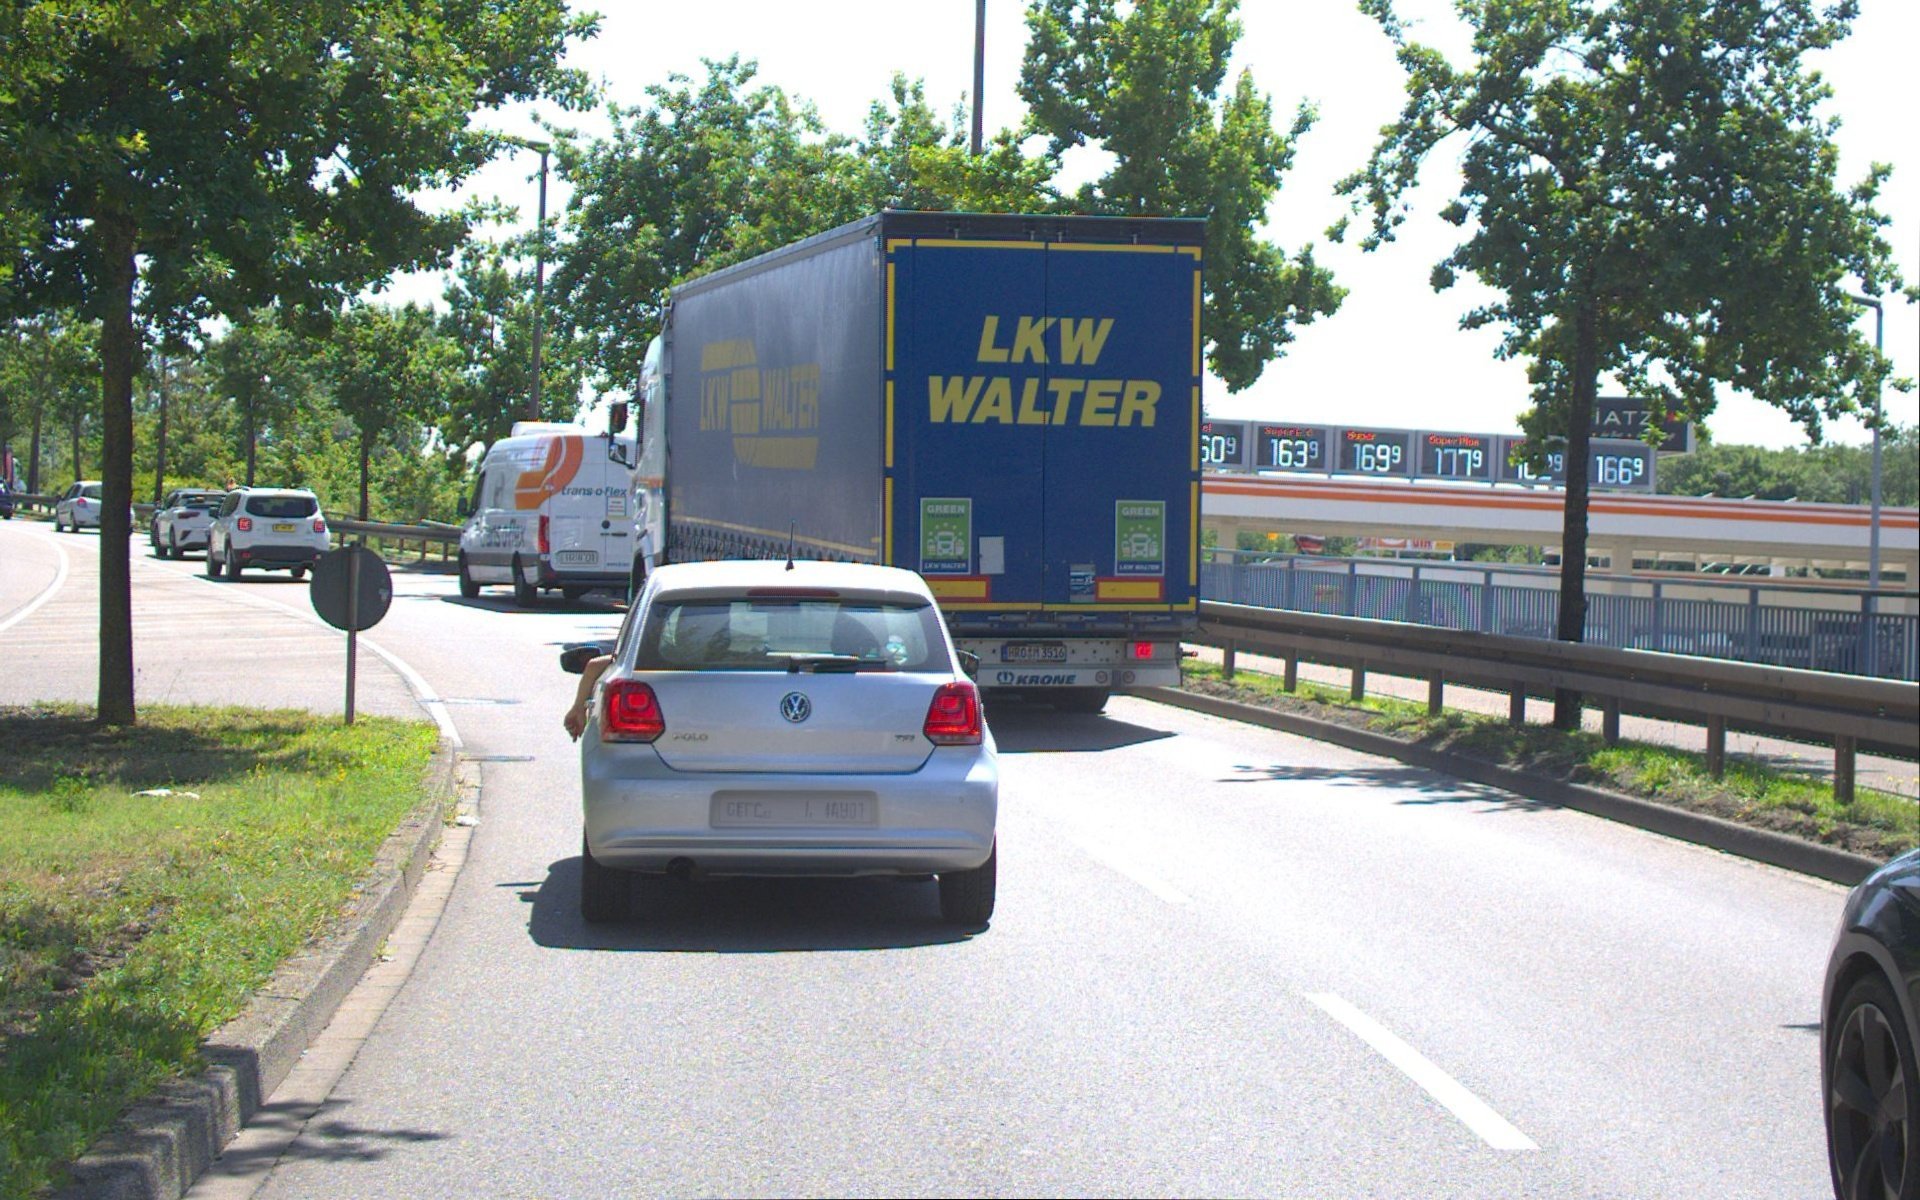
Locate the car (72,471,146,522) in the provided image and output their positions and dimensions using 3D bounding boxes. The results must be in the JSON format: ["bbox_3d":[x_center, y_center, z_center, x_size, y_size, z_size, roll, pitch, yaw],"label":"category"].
[{"bbox_3d":[-24.069,-2.922,97.155,1.607,1.355,3.664,1,1,-20],"label":"car"}]

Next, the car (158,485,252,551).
[{"bbox_3d":[-16.595,-1.800,75.472,1.494,1.355,3.664,1,1,-20],"label":"car"}]

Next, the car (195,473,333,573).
[{"bbox_3d":[-12.800,-1.376,63.044,1.903,1.712,4.225,2,0,-19],"label":"car"}]

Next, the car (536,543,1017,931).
[{"bbox_3d":[-0.901,0.520,14.773,1.645,1.434,3.538,2,0,-9],"label":"car"}]

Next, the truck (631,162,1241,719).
[{"bbox_3d":[-0.932,-1.342,34.466,2.832,4.184,16.479,1,1,-12],"label":"truck"}]

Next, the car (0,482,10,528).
[{"bbox_3d":[-32.837,-3.201,115.574,1.664,1.460,3.582,2,0,-16],"label":"car"}]

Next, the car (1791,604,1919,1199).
[{"bbox_3d":[2.818,0.758,5.729,1.604,1.451,4.236,2,0,-3],"label":"car"}]

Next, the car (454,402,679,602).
[{"bbox_3d":[-6.268,-1.557,54.015,2.175,2.890,6.360,2,2,-18],"label":"car"}]
